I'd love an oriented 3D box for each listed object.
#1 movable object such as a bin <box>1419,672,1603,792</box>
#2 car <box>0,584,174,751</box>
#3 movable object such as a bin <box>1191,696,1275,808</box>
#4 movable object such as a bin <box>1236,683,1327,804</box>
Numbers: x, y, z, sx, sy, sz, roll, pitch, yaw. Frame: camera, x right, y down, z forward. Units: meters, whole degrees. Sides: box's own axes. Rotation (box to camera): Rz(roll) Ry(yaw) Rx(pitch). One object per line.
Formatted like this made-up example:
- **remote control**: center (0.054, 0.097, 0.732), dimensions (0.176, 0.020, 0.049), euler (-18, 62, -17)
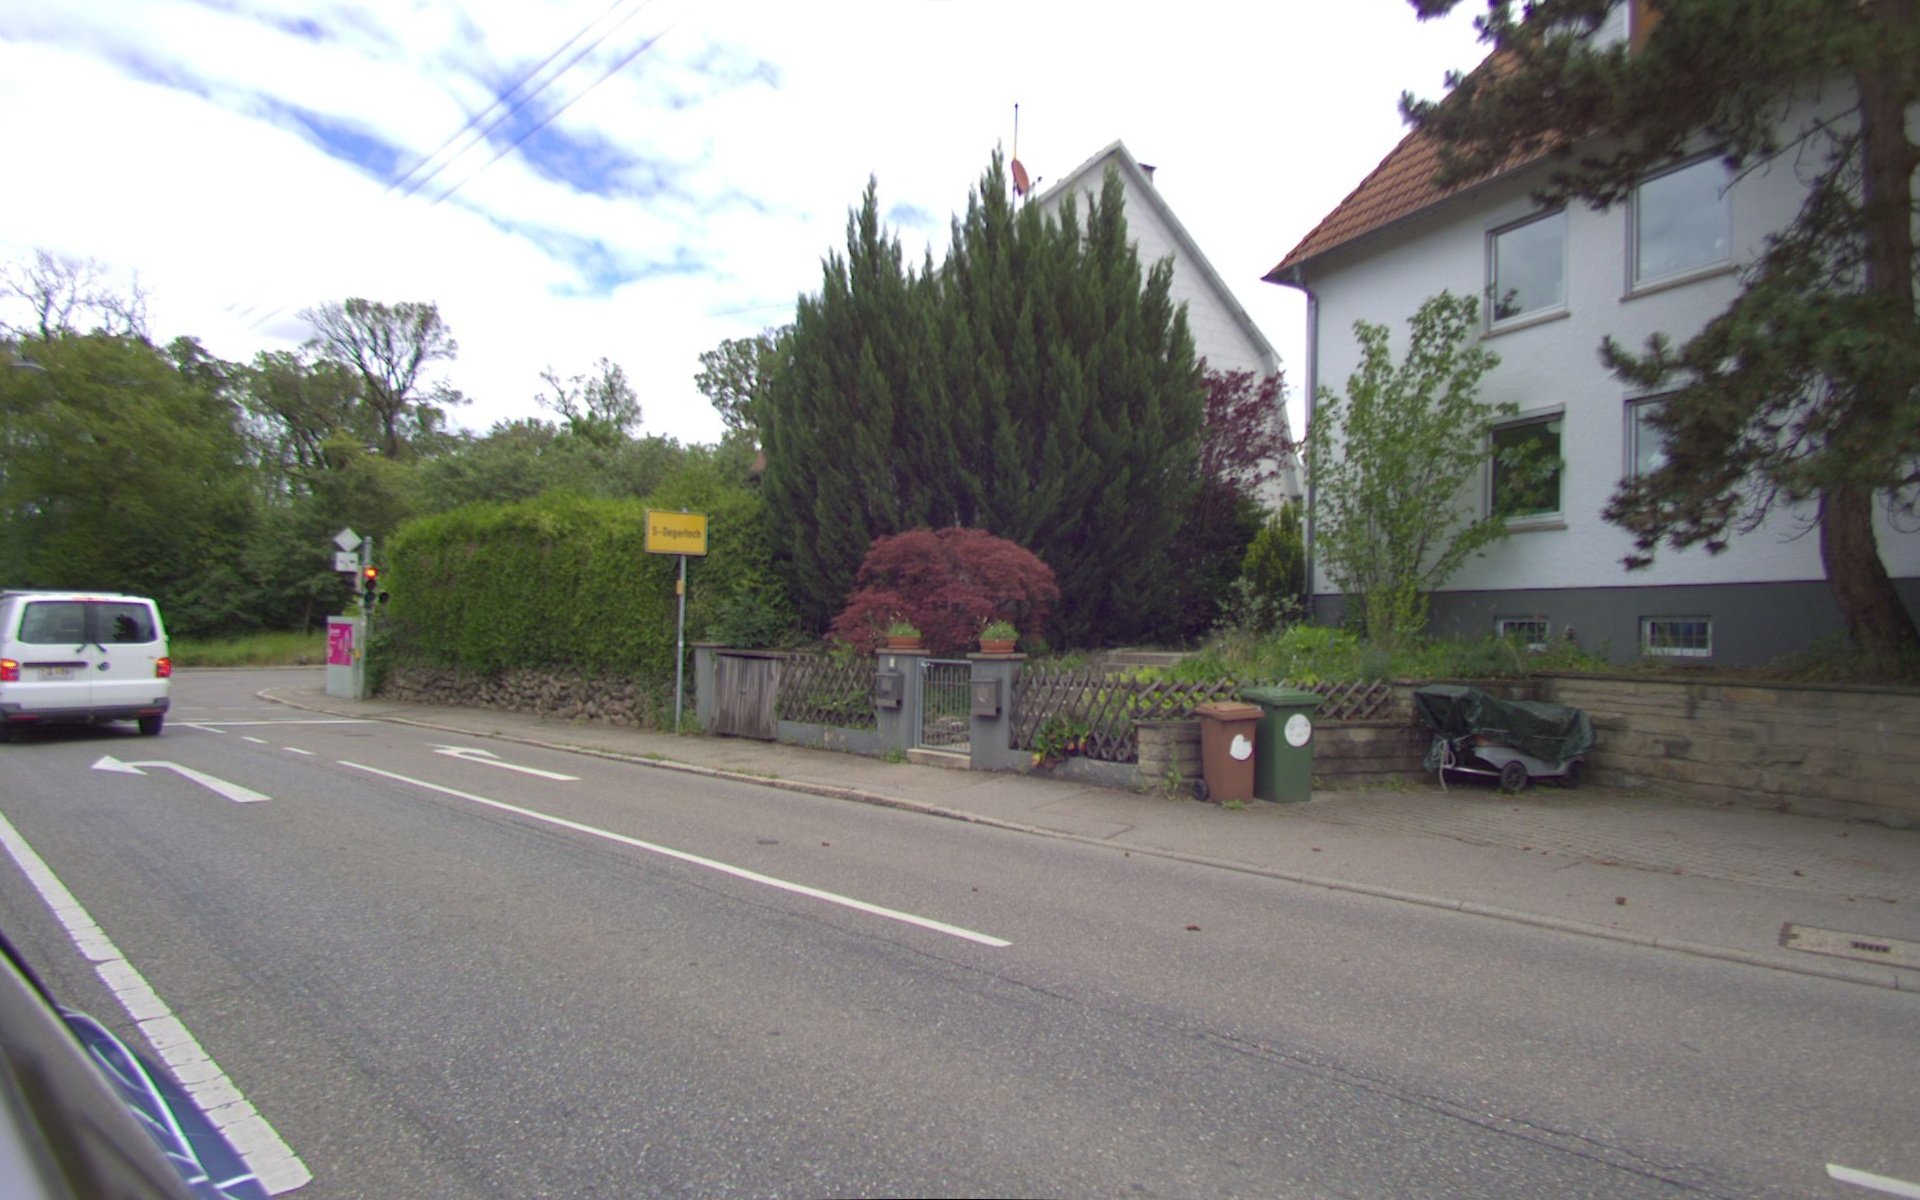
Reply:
- **movable object such as a bin**: center (5.542, 1.295, 10.202), dimensions (1.570, 1.089, 0.719), euler (0, -2, -17)
- **car**: center (-13.323, 0.925, 14.829), dimensions (5.169, 2.063, 1.838), euler (-2, -3, 41)
- **movable object such as a bin**: center (2.523, 1.388, 9.391), dimensions (0.457, 0.949, 0.649), euler (1, -2, -20)
- **movable object such as a bin**: center (3.021, 1.327, 9.548), dimensions (0.472, 1.042, 0.718), euler (1, -2, -20)
